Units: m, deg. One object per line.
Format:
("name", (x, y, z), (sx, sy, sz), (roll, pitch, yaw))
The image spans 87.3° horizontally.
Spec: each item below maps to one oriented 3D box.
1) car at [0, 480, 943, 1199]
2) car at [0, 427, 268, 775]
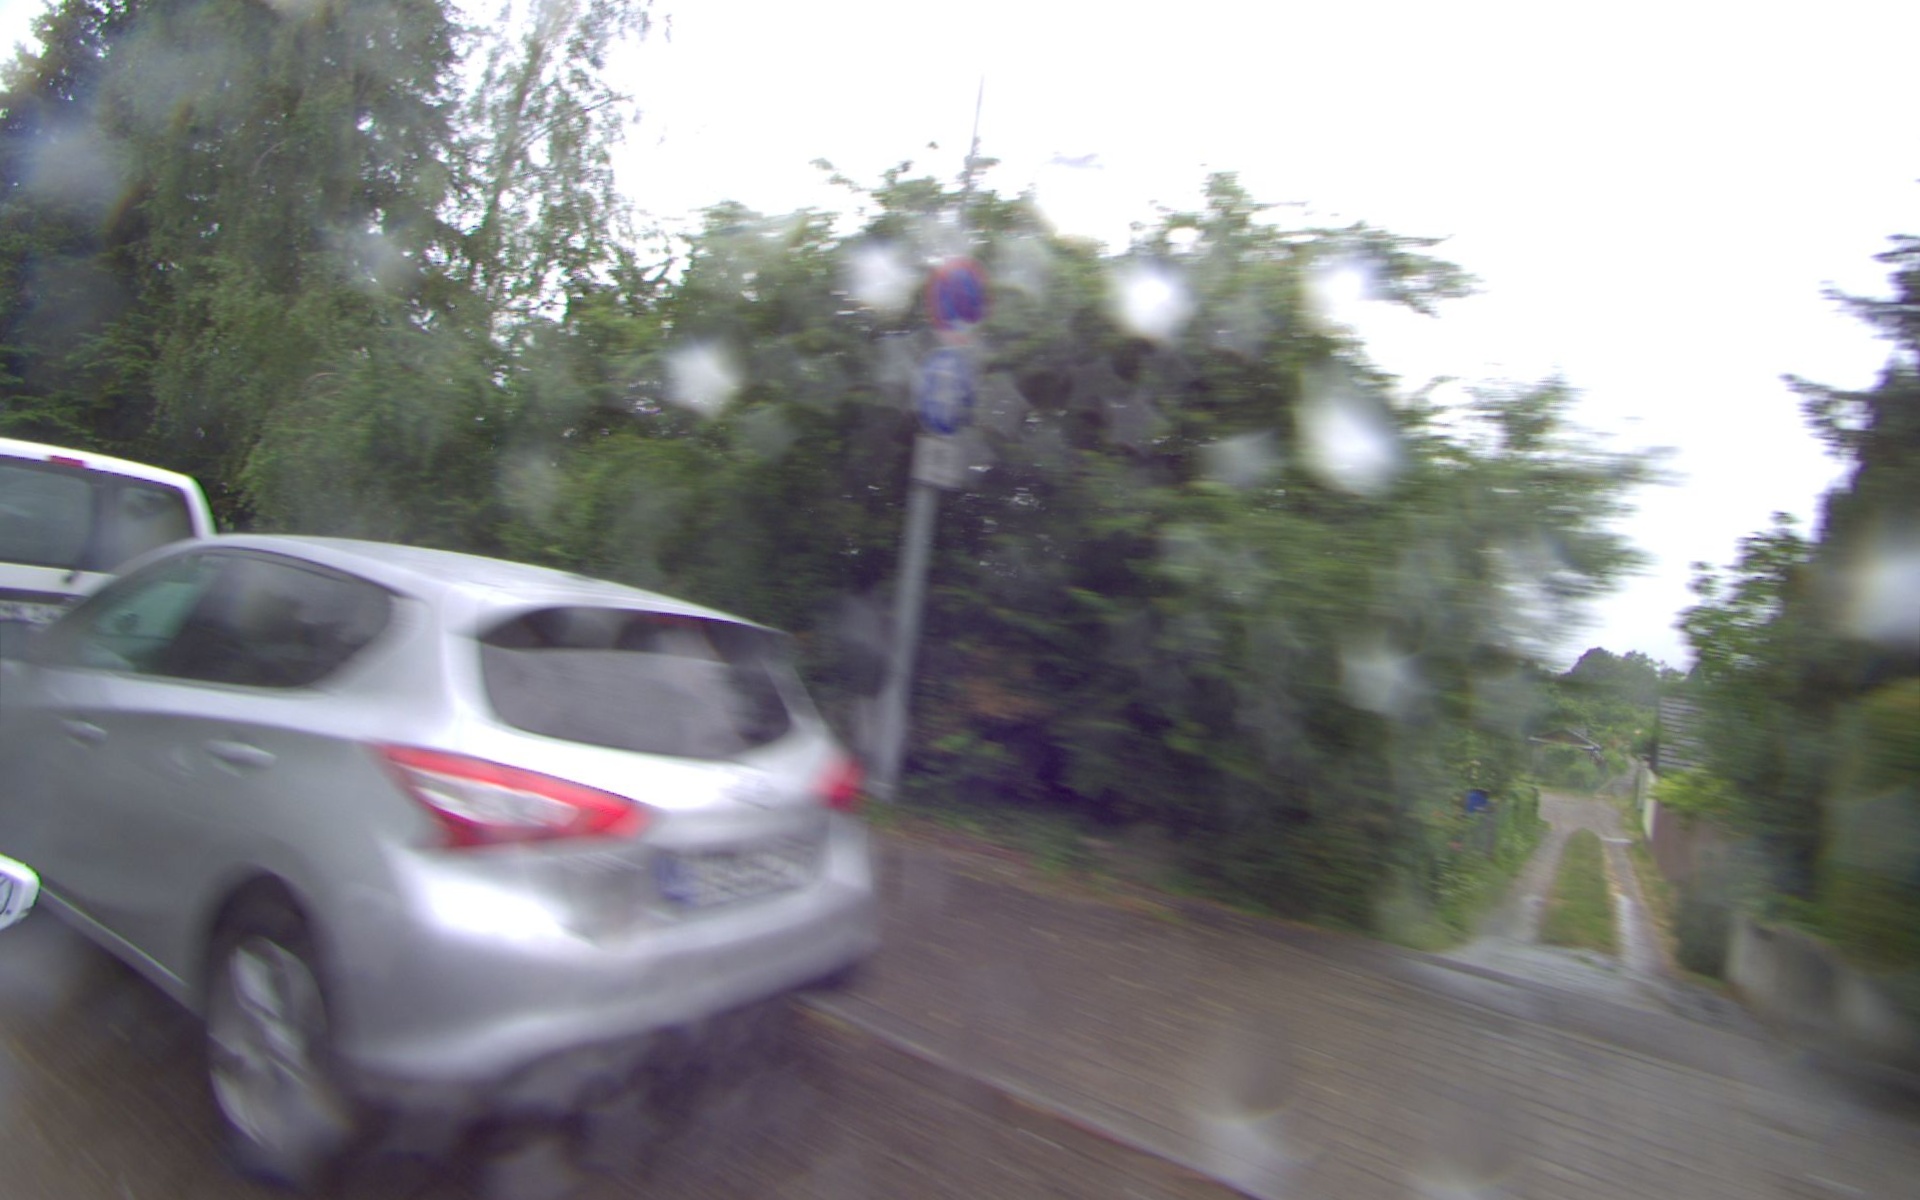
("car", (-2.370, 0.459, 3.749), (4.239, 1.477, 1.791), (6, -1, 34))
("car", (-6.621, -0.156, 6.663), (4.291, 1.812, 1.786), (6, -1, 34))
